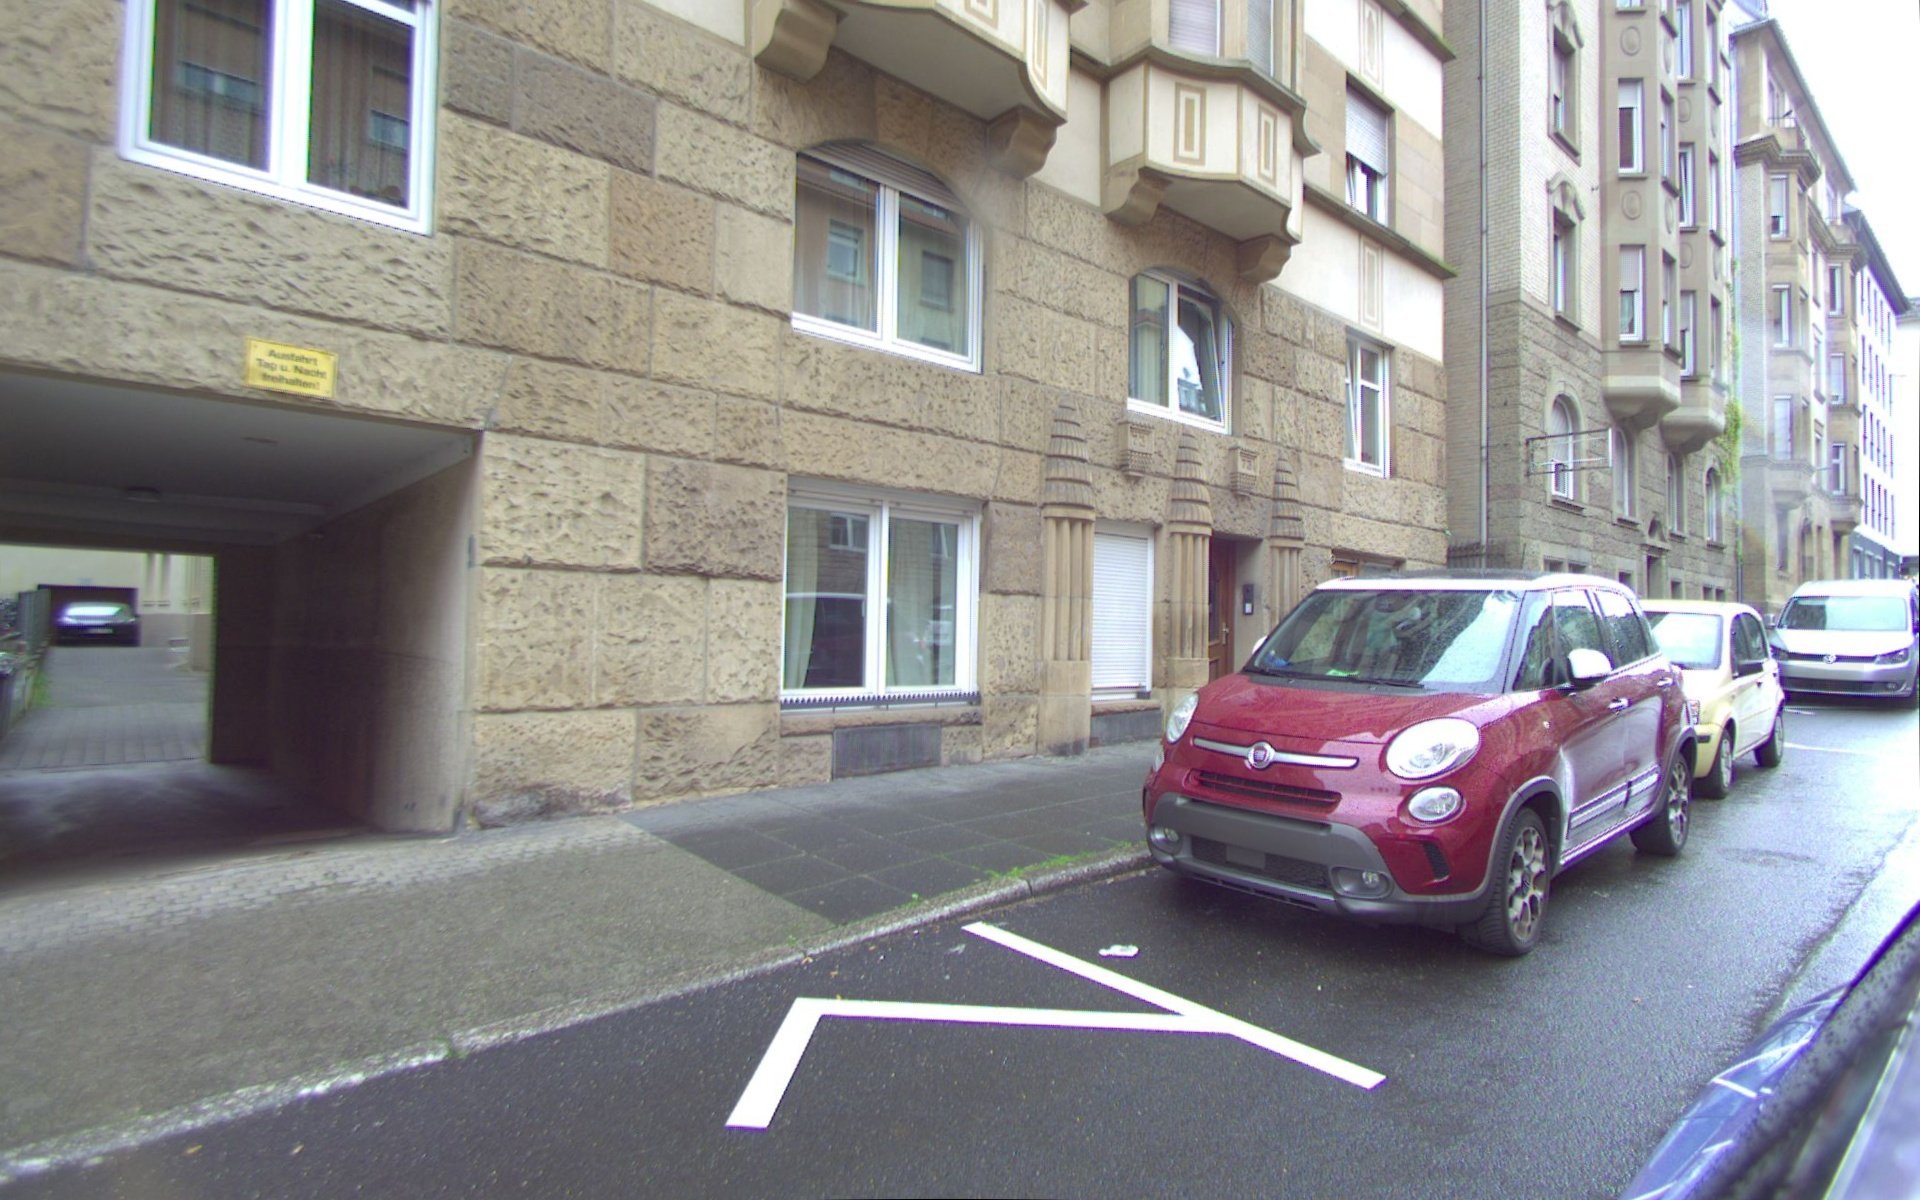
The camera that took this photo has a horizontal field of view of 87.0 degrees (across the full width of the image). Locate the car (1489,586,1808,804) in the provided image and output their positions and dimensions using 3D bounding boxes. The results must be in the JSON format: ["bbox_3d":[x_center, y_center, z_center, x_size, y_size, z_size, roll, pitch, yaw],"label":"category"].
[{"bbox_3d":[6.208,0.680,8.989,3.517,1.549,1.578,0,-1,-43],"label":"car"}]

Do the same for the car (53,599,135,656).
[{"bbox_3d":[-25.175,0.758,29.457,1.692,1.541,4.098,0,-1,-41],"label":"car"}]

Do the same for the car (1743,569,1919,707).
[{"bbox_3d":[13.772,0.505,15.505,4.380,1.825,1.966,0,-1,-41],"label":"car"}]

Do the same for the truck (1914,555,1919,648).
[{"bbox_3d":[29.173,0.028,28.873,6.036,2.568,2.234,0,-1,-41],"label":"truck"}]

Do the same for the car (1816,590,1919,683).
[{"bbox_3d":[17.180,0.604,18.496,3.934,1.549,1.994,0,-1,-45],"label":"car"}]

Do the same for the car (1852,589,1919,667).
[{"bbox_3d":[20.486,0.552,21.435,3.860,1.549,1.889,0,-1,-41],"label":"car"}]

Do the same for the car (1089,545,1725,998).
[{"bbox_3d":[2.686,0.616,5.627,3.932,1.619,1.804,0,-1,-42],"label":"car"}]
